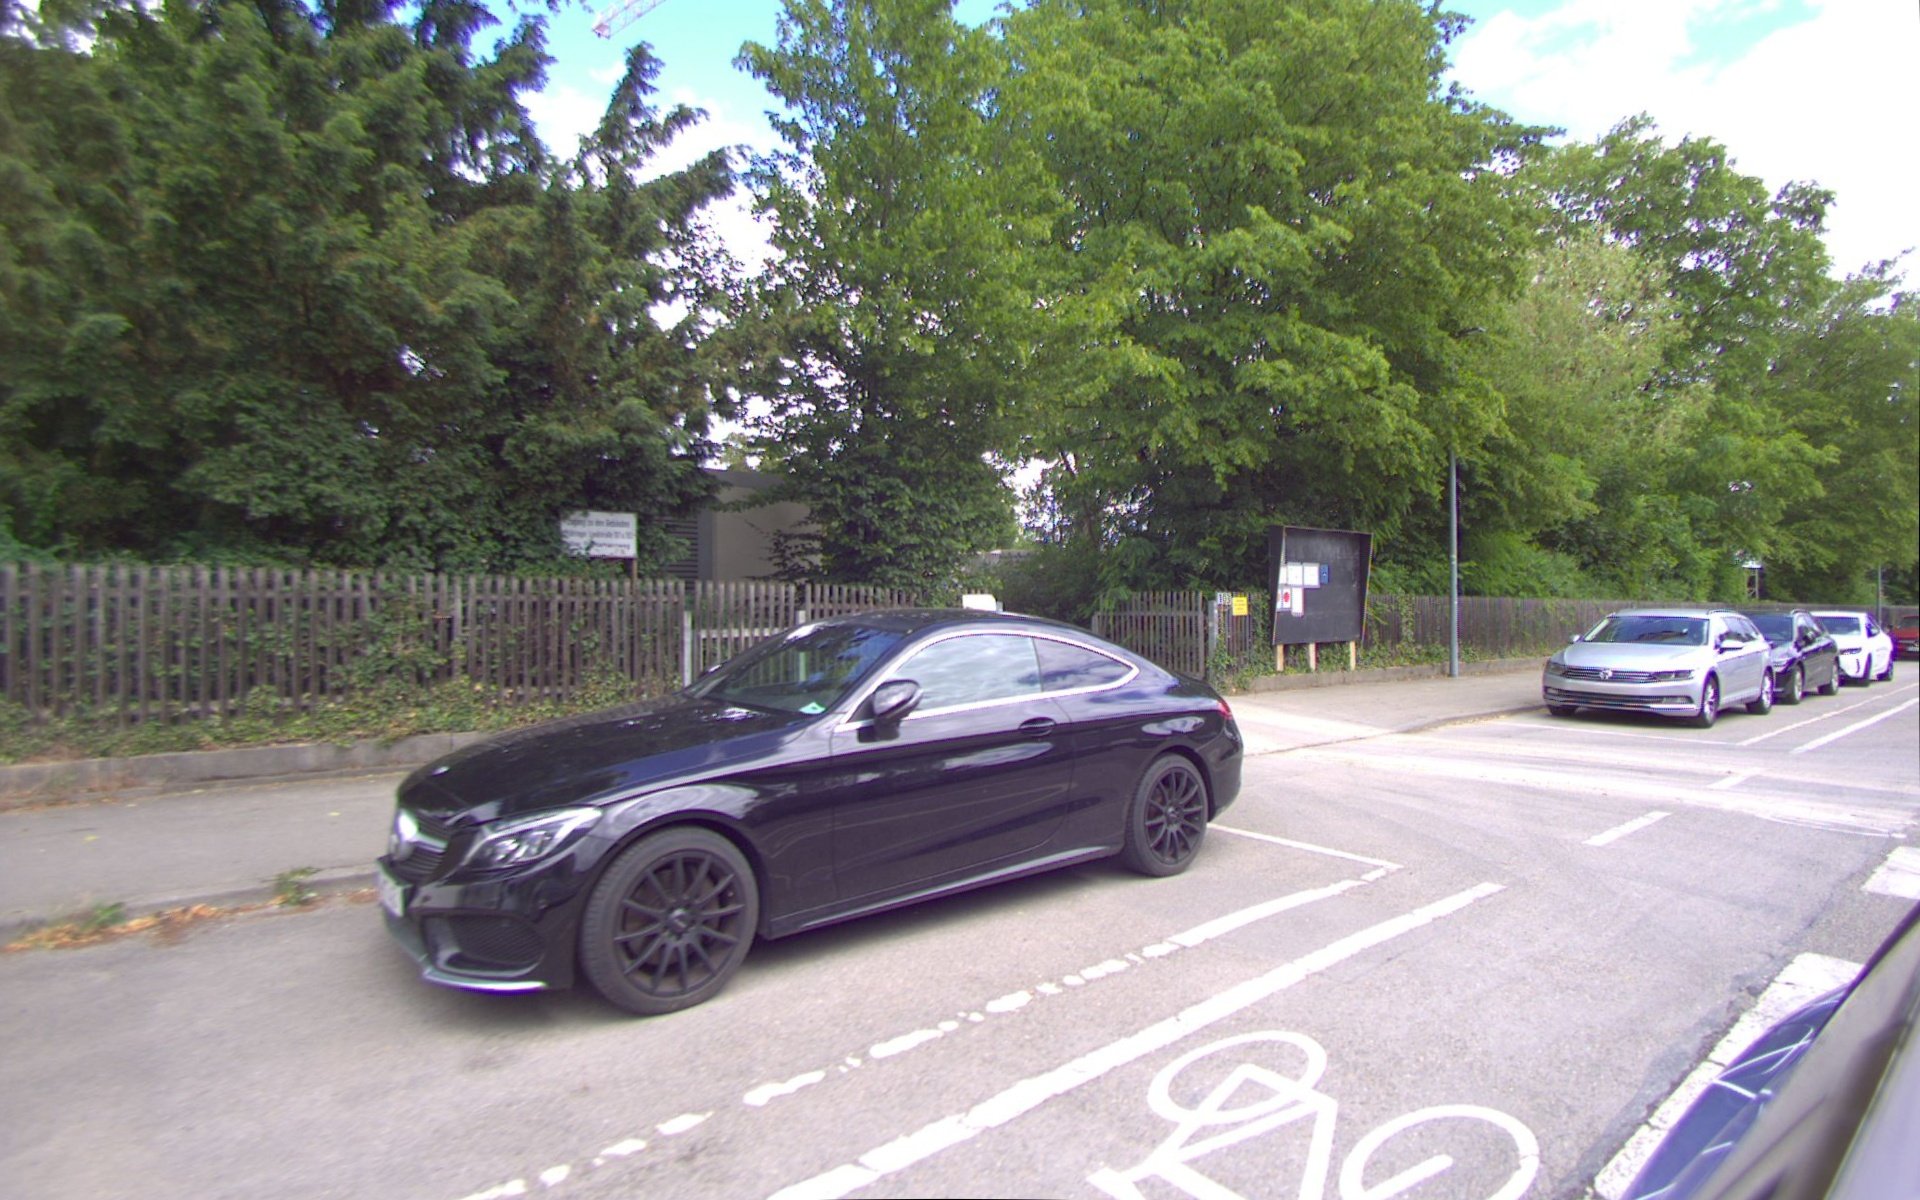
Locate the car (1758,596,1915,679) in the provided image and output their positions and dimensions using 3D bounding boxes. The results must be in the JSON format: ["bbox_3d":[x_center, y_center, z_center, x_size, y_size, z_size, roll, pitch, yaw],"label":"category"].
[{"bbox_3d":[18.097,0.696,20.846,3.958,1.529,1.772,-1,0,-39],"label":"car"}]

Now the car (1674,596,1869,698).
[{"bbox_3d":[13.927,0.739,17.287,4.456,1.530,1.705,0,-2,-39],"label":"car"}]

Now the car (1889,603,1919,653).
[{"bbox_3d":[29.767,0.824,30.558,4.362,1.432,1.863,1,-3,-39],"label":"car"}]

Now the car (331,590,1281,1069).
[{"bbox_3d":[-0.461,0.694,5.199,4.519,1.435,1.867,0,0,-39],"label":"car"}]

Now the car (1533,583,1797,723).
[{"bbox_3d":[9.830,0.608,13.965,4.604,1.631,1.864,-1,-1,-41],"label":"car"}]
